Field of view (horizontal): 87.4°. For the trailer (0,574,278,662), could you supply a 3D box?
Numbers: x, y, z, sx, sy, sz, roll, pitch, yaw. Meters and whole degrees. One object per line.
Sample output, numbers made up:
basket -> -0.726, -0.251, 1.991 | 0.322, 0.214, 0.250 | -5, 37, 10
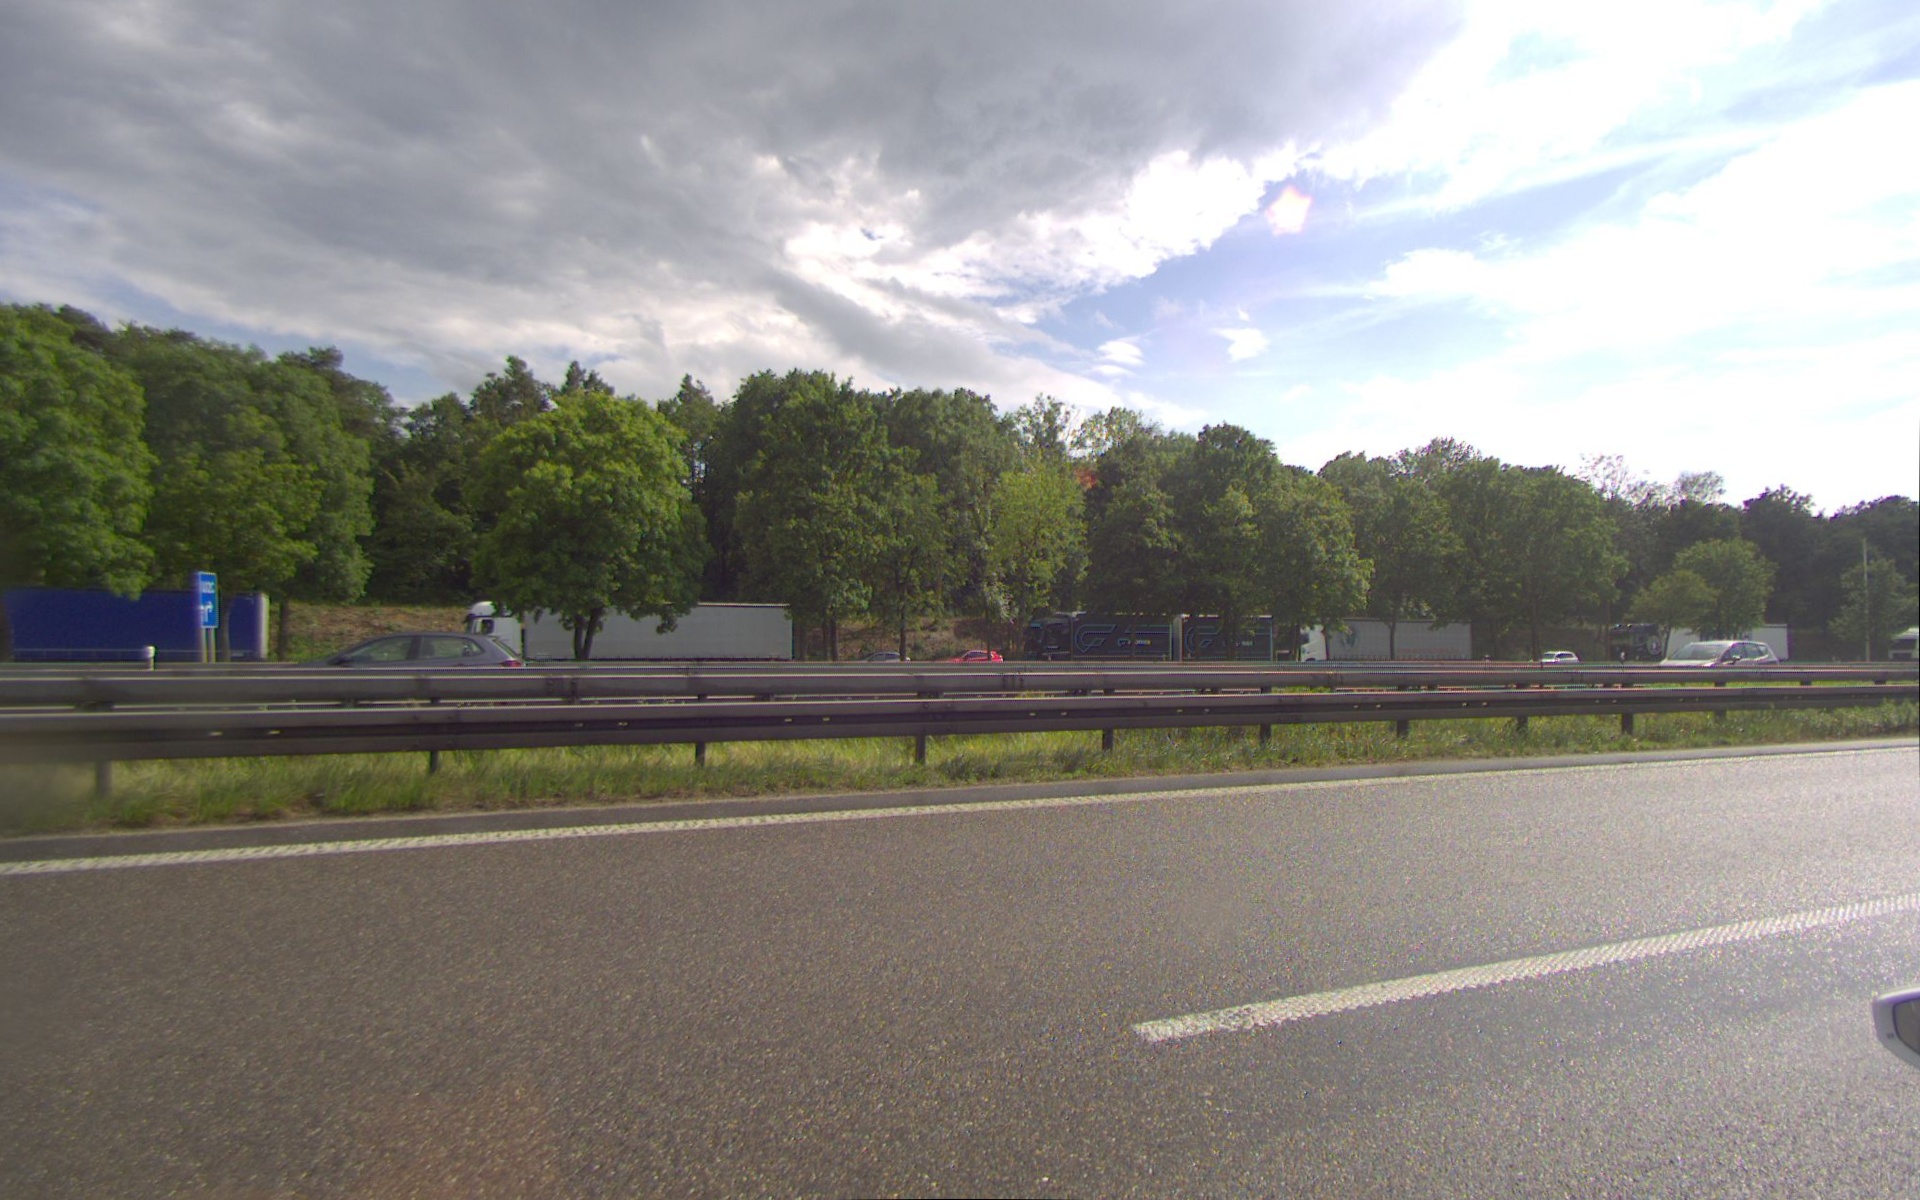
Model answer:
trailer -> -36.721, 0.804, 42.007 | 13.270, 3.449, 2.809 | 2, -2, -31

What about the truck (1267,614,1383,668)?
truck -> 26.418, 2.994, 72.788 | 7.249, 3.637, 3.780 | 2, 0, -23

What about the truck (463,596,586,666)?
truck -> -22.025, 1.572, 50.799 | 5.436, 3.316, 3.340 | 2, 0, -27

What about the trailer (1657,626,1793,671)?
trailer -> 64.928, 4.094, 85.291 | 10.324, 3.697, 3.789 | 1, -2, -16

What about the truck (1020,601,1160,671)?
truck -> 8.529, 2.341, 65.948 | 8.296, 4.290, 3.780 | 2, 0, -23

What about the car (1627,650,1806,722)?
car -> 22.812, 2.548, 30.304 | 4.712, 1.916, 2.295 | 2, 0, -23

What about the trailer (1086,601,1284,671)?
trailer -> 15.511, 2.520, 68.905 | 13.601, 4.463, 3.782 | 1, -2, -22

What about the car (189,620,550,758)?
car -> -9.159, 1.362, 16.105 | 4.712, 1.916, 1.826 | 2, 0, -24

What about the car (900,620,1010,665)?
car -> -0.323, 2.595, 61.686 | 6.121, 2.515, 2.787 | 2, 0, -23

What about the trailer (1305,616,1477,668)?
trailer -> 32.341, 3.188, 75.220 | 13.151, 3.697, 3.782 | 1, -2, -22

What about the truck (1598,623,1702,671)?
truck -> 56.911, 3.865, 82.880 | 6.598, 3.709, 3.786 | 2, 0, -18

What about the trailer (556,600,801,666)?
trailer -> -15.048, 1.833, 54.175 | 12.307, 3.259, 3.338 | 2, -2, -25

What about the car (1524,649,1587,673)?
car -> 47.414, 4.877, 80.017 | 4.302, 1.741, 2.056 | 2, 0, -20

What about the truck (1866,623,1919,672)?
truck -> 86.076, 4.270, 89.998 | 6.918, 4.171, 3.794 | 2, 0, -9
